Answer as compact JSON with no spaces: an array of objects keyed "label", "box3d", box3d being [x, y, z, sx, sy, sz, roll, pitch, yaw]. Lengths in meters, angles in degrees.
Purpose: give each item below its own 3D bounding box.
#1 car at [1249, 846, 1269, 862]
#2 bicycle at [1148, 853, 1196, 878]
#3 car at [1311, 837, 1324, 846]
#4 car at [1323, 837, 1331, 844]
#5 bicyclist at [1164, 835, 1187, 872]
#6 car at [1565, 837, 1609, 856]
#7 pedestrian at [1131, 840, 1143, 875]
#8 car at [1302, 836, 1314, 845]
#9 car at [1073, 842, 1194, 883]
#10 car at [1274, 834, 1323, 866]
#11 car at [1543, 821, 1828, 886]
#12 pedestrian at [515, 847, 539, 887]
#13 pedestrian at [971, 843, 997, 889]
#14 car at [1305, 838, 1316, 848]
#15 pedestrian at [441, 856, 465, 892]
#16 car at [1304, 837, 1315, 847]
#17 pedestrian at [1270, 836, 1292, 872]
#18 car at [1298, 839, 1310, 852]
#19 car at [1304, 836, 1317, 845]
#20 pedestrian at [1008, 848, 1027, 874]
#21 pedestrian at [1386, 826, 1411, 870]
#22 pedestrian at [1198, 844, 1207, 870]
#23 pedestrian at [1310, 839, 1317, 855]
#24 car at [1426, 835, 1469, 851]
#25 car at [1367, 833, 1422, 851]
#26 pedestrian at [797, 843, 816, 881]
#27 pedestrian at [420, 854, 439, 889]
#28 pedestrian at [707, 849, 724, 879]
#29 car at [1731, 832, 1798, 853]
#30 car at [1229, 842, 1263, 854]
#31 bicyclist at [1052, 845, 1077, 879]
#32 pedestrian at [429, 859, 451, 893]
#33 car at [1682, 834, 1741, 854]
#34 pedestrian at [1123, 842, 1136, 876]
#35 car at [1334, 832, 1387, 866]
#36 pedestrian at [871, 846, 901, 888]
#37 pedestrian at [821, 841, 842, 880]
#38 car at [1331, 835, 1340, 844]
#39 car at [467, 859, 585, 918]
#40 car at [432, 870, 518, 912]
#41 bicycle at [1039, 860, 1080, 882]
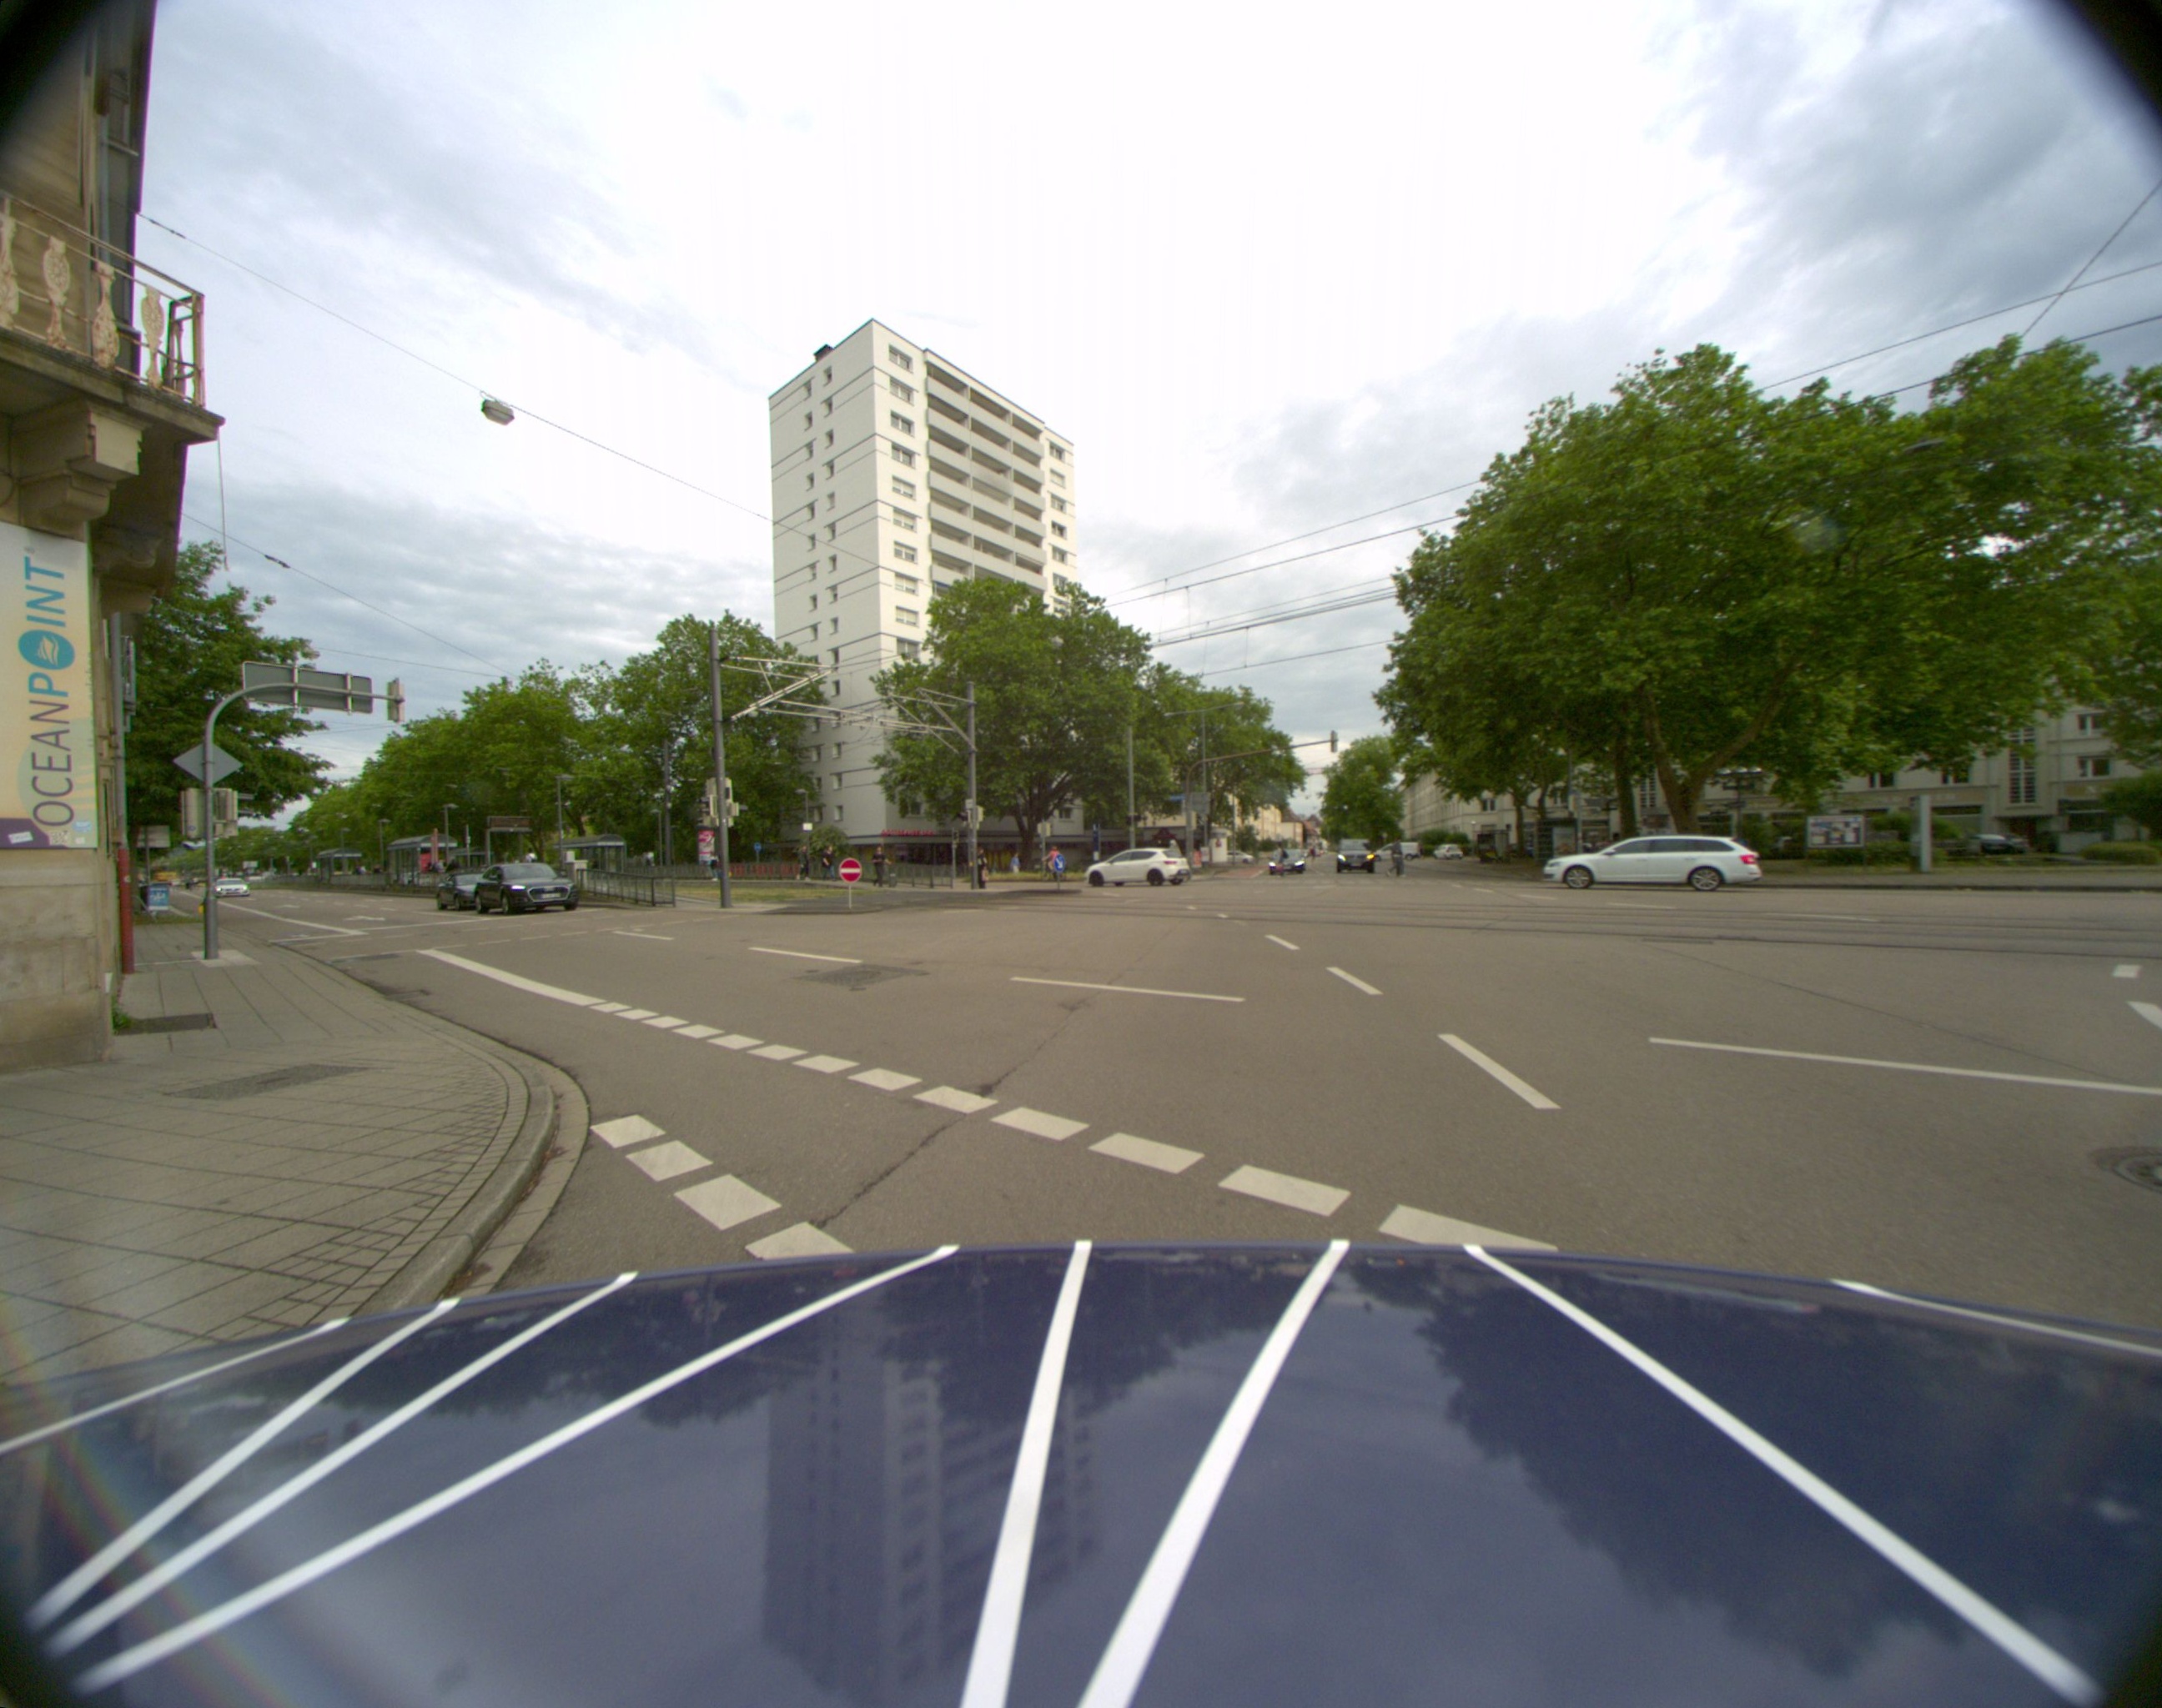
[{"label":"car","box3d":[20.061,-0.023,85.655,1.996,1.543,3.912,-2,2,15]},{"label":"bicycle","box3d":[3.908,0.489,32.736,1.987,1.058,0.731,-1,0,39]},{"label":"car","box3d":[52.557,-2.793,168.907,1.995,2.002,4.006,-1,2,30]},{"label":"car","box3d":[73.523,-3.916,226.773,1.995,2.002,4.005,-2,1,21]},{"label":"bicyclist","box3d":[4.060,-0.013,32.635,0.754,1.553,0.586,-1,-1,39]},{"label":"car","box3d":[40.172,-0.632,60.411,1.995,1.381,4.839,-1,1,23]},{"label":"pedestrian","box3d":[2.702,0.166,36.424,0.504,1.603,0.367,-2,2,7]},{"label":"car","box3d":[45.122,-2.698,150.839,1.996,1.790,4.004,-2,2,19]},{"label":"car","box3d":[1.991,0.327,29.655,4.401,1.440,1.851,-1,2,39]},{"label":"car","box3d":[12.363,-0.172,43.046,1.659,1.708,3.747,-1,-1,33]},{"label":"car","box3d":[15.651,0.036,20.082,5.686,1.516,1.851,-1,0,39]},{"label":"pedestrian","box3d":[-24.635,0.559,33.792,0.533,1.741,0.664,-1,3,40]},{"label":"pedestrian","box3d":[-3.788,0.462,29.729,0.625,1.740,0.657,-1,3,41]},{"label":"car","box3d":[49.421,-2.441,163.775,1.996,2.002,4.004,-2,2,19]},{"label":"pedestrian","box3d":[-32.281,1.034,39.060,0.663,1.781,0.534,-3,2,-11]},{"label":"car","box3d":[47.394,-2.478,157.743,1.996,2.002,4.004,-2,2,19]},{"label":"pedestrian","box3d":[9.441,0.004,35.892,0.754,1.680,0.808,-1,1,35]},{"label":"car","box3d":[38.855,-1.464,132.583,1.996,2.002,4.003,-2,2,16]},{"label":"car","box3d":[53.895,-3.128,178.130,1.995,2.002,4.006,-1,2,30]},{"label":"pedestrian","box3d":[-3.736,0.395,44.821,0.851,1.500,0.555,-1,3,33]},{"label":"pedestrian","box3d":[13.955,-0.262,33.375,0.689,1.876,0.688,-3,2,-10]},{"label":"pedestrian","box3d":[6.567,0.149,40.958,0.416,1.357,0.391,-2,2,12]},{"label":"pedestrian","box3d":[25.702,-0.790,83.975,0.610,1.746,0.452,-2,2,22]},{"label":"car","box3d":[36.785,-1.072,76.403,1.803,1.477,3.996,-2,1,-11]},{"label":"car","box3d":[31.081,-1.157,75.322,4.820,1.654,2.003,-1,1,29]},{"label":"pedestrian","box3d":[-13.324,0.391,36.889,0.533,1.779,0.623,-1,3,40]},{"label":"pedestrian","box3d":[-37.799,1.010,44.084,0.819,2.039,0.587,-1,3,42]},{"label":"pedestrian","box3d":[-20.740,0.549,43.099,0.563,1.659,0.623,-1,3,40]},{"label":"car","box3d":[48.383,-0.803,53.921,2.078,1.381,4.839,-1,1,23]},{"label":"car","box3d":[20.991,-0.751,96.725,3.991,1.368,1.820,-2,2,23]},{"label":"bicyclist","box3d":[-0.795,0.409,37.006,0.991,1.628,0.709,-1,0,39]},{"label":"pedestrian","box3d":[-34.229,1.183,40.590,0.819,1.781,0.685,-1,3,42]},{"label":"car","box3d":[46.189,-0.746,55.795,1.995,1.381,4.839,-1,1,23]},{"label":"pedestrian","box3d":[2.342,0.236,36.850,0.523,1.603,0.527,-2,2,7]},{"label":"car","box3d":[15.124,-0.237,40.997,1.907,1.708,3.747,-1,-1,33]},{"label":"pedestrian","box3d":[-8.172,0.546,31.871,0.876,1.686,0.744,-1,3,40]},{"label":"pedestrian","box3d":[-11.497,0.297,34.961,0.547,1.741,0.623,-1,3,40]},{"label":"car","box3d":[61.440,-3.597,183.446,1.996,2.002,4.004,-2,2,21]},{"label":"car","box3d":[-17.984,1.059,24.559,4.355,1.638,1.921,-1,2,39]},{"label":"car","box3d":[-22.731,1.355,28.456,4.002,1.367,1.641,-1,2,39]},{"label":"bicycle","box3d":[-1.071,0.821,37.214,1.987,1.058,0.731,-1,0,39]}]
